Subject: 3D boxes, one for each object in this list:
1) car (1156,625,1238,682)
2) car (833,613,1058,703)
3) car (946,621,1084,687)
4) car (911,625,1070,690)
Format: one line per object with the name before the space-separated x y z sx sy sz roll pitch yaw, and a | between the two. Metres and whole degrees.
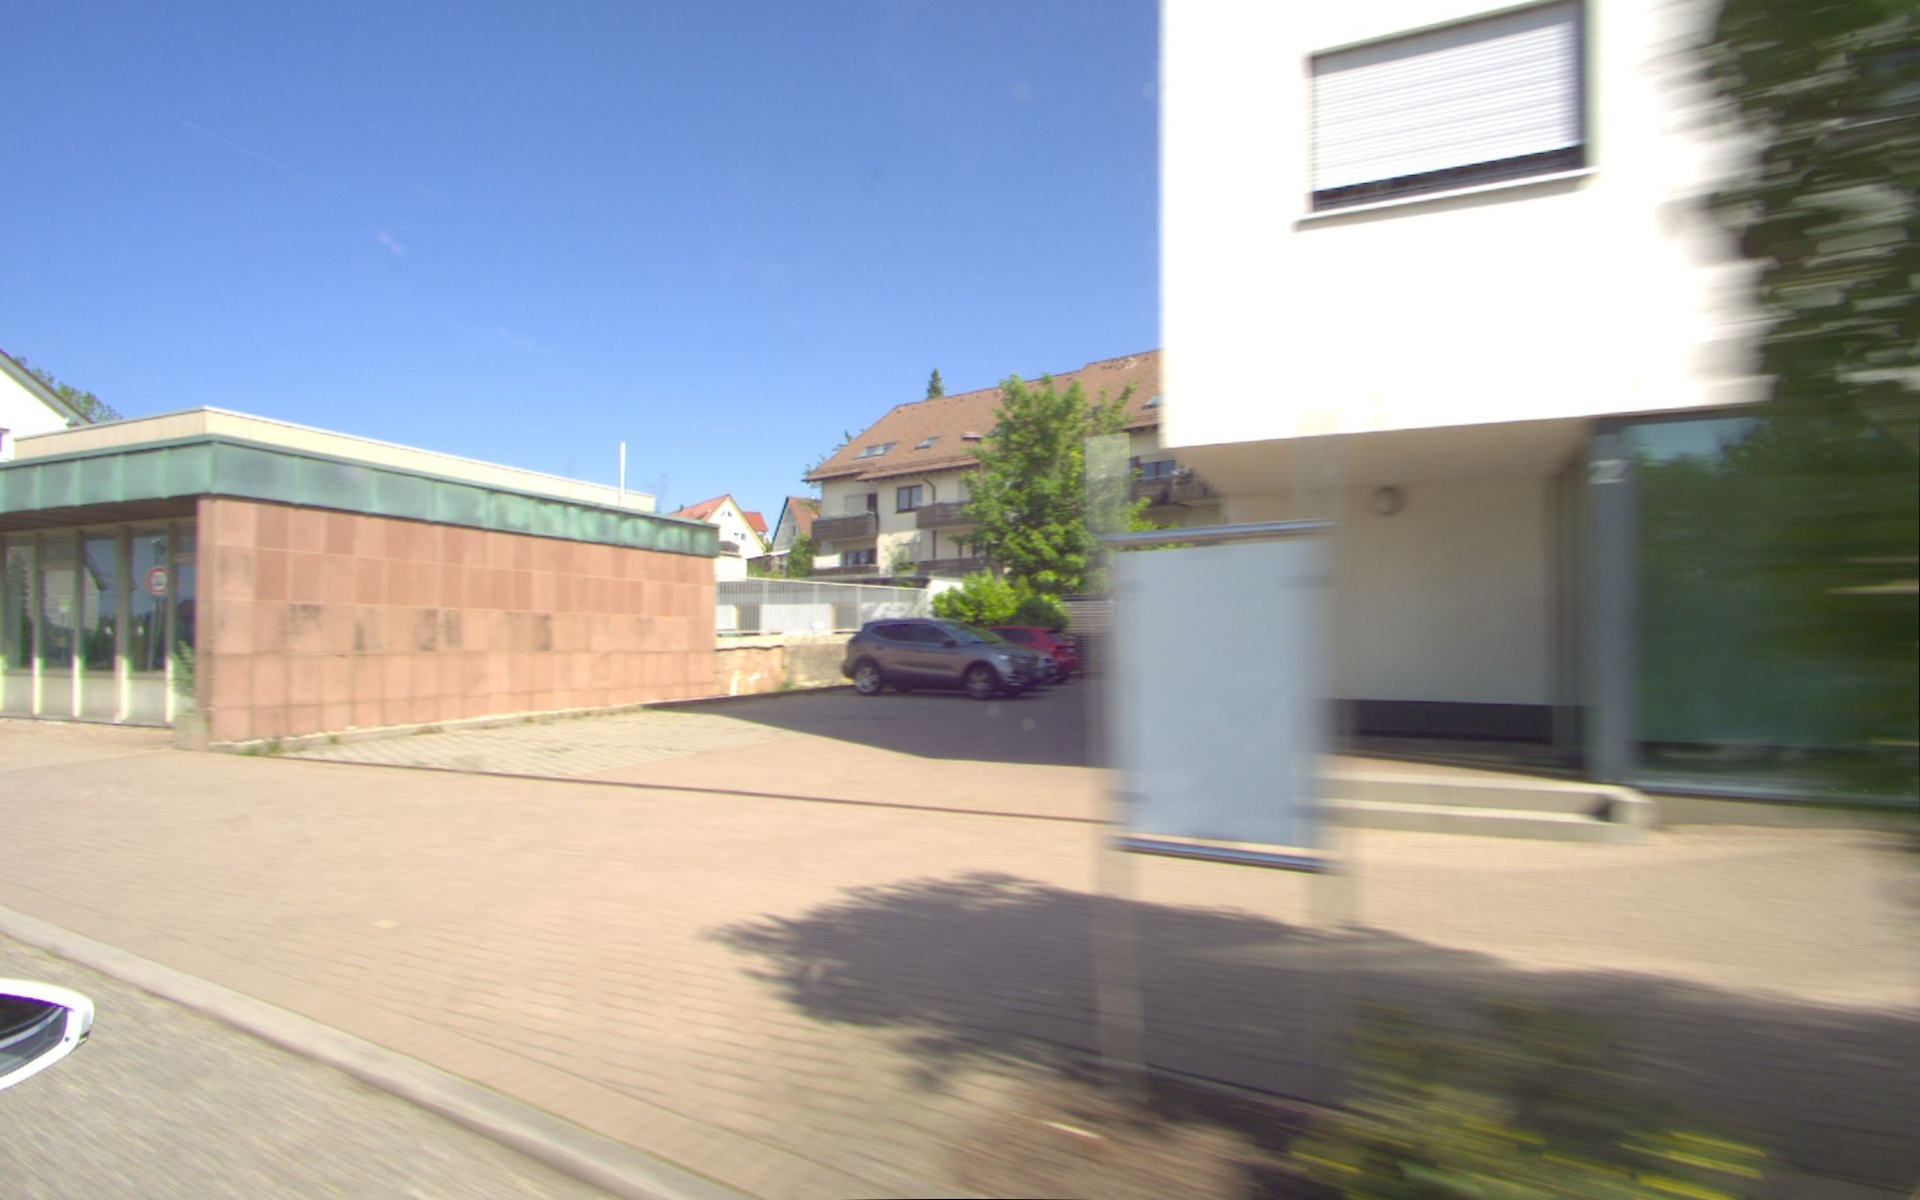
car | 6.816 1.472 28.544 1.859 1.459 3.538 -1 0 21
car | -0.308 1.128 20.905 4.308 1.671 1.916 0 0 26
car | 1.415 1.336 25.509 3.104 1.559 1.665 -1 1 23
car | 0.715 1.295 23.150 3.250 1.410 1.778 -1 -2 26
